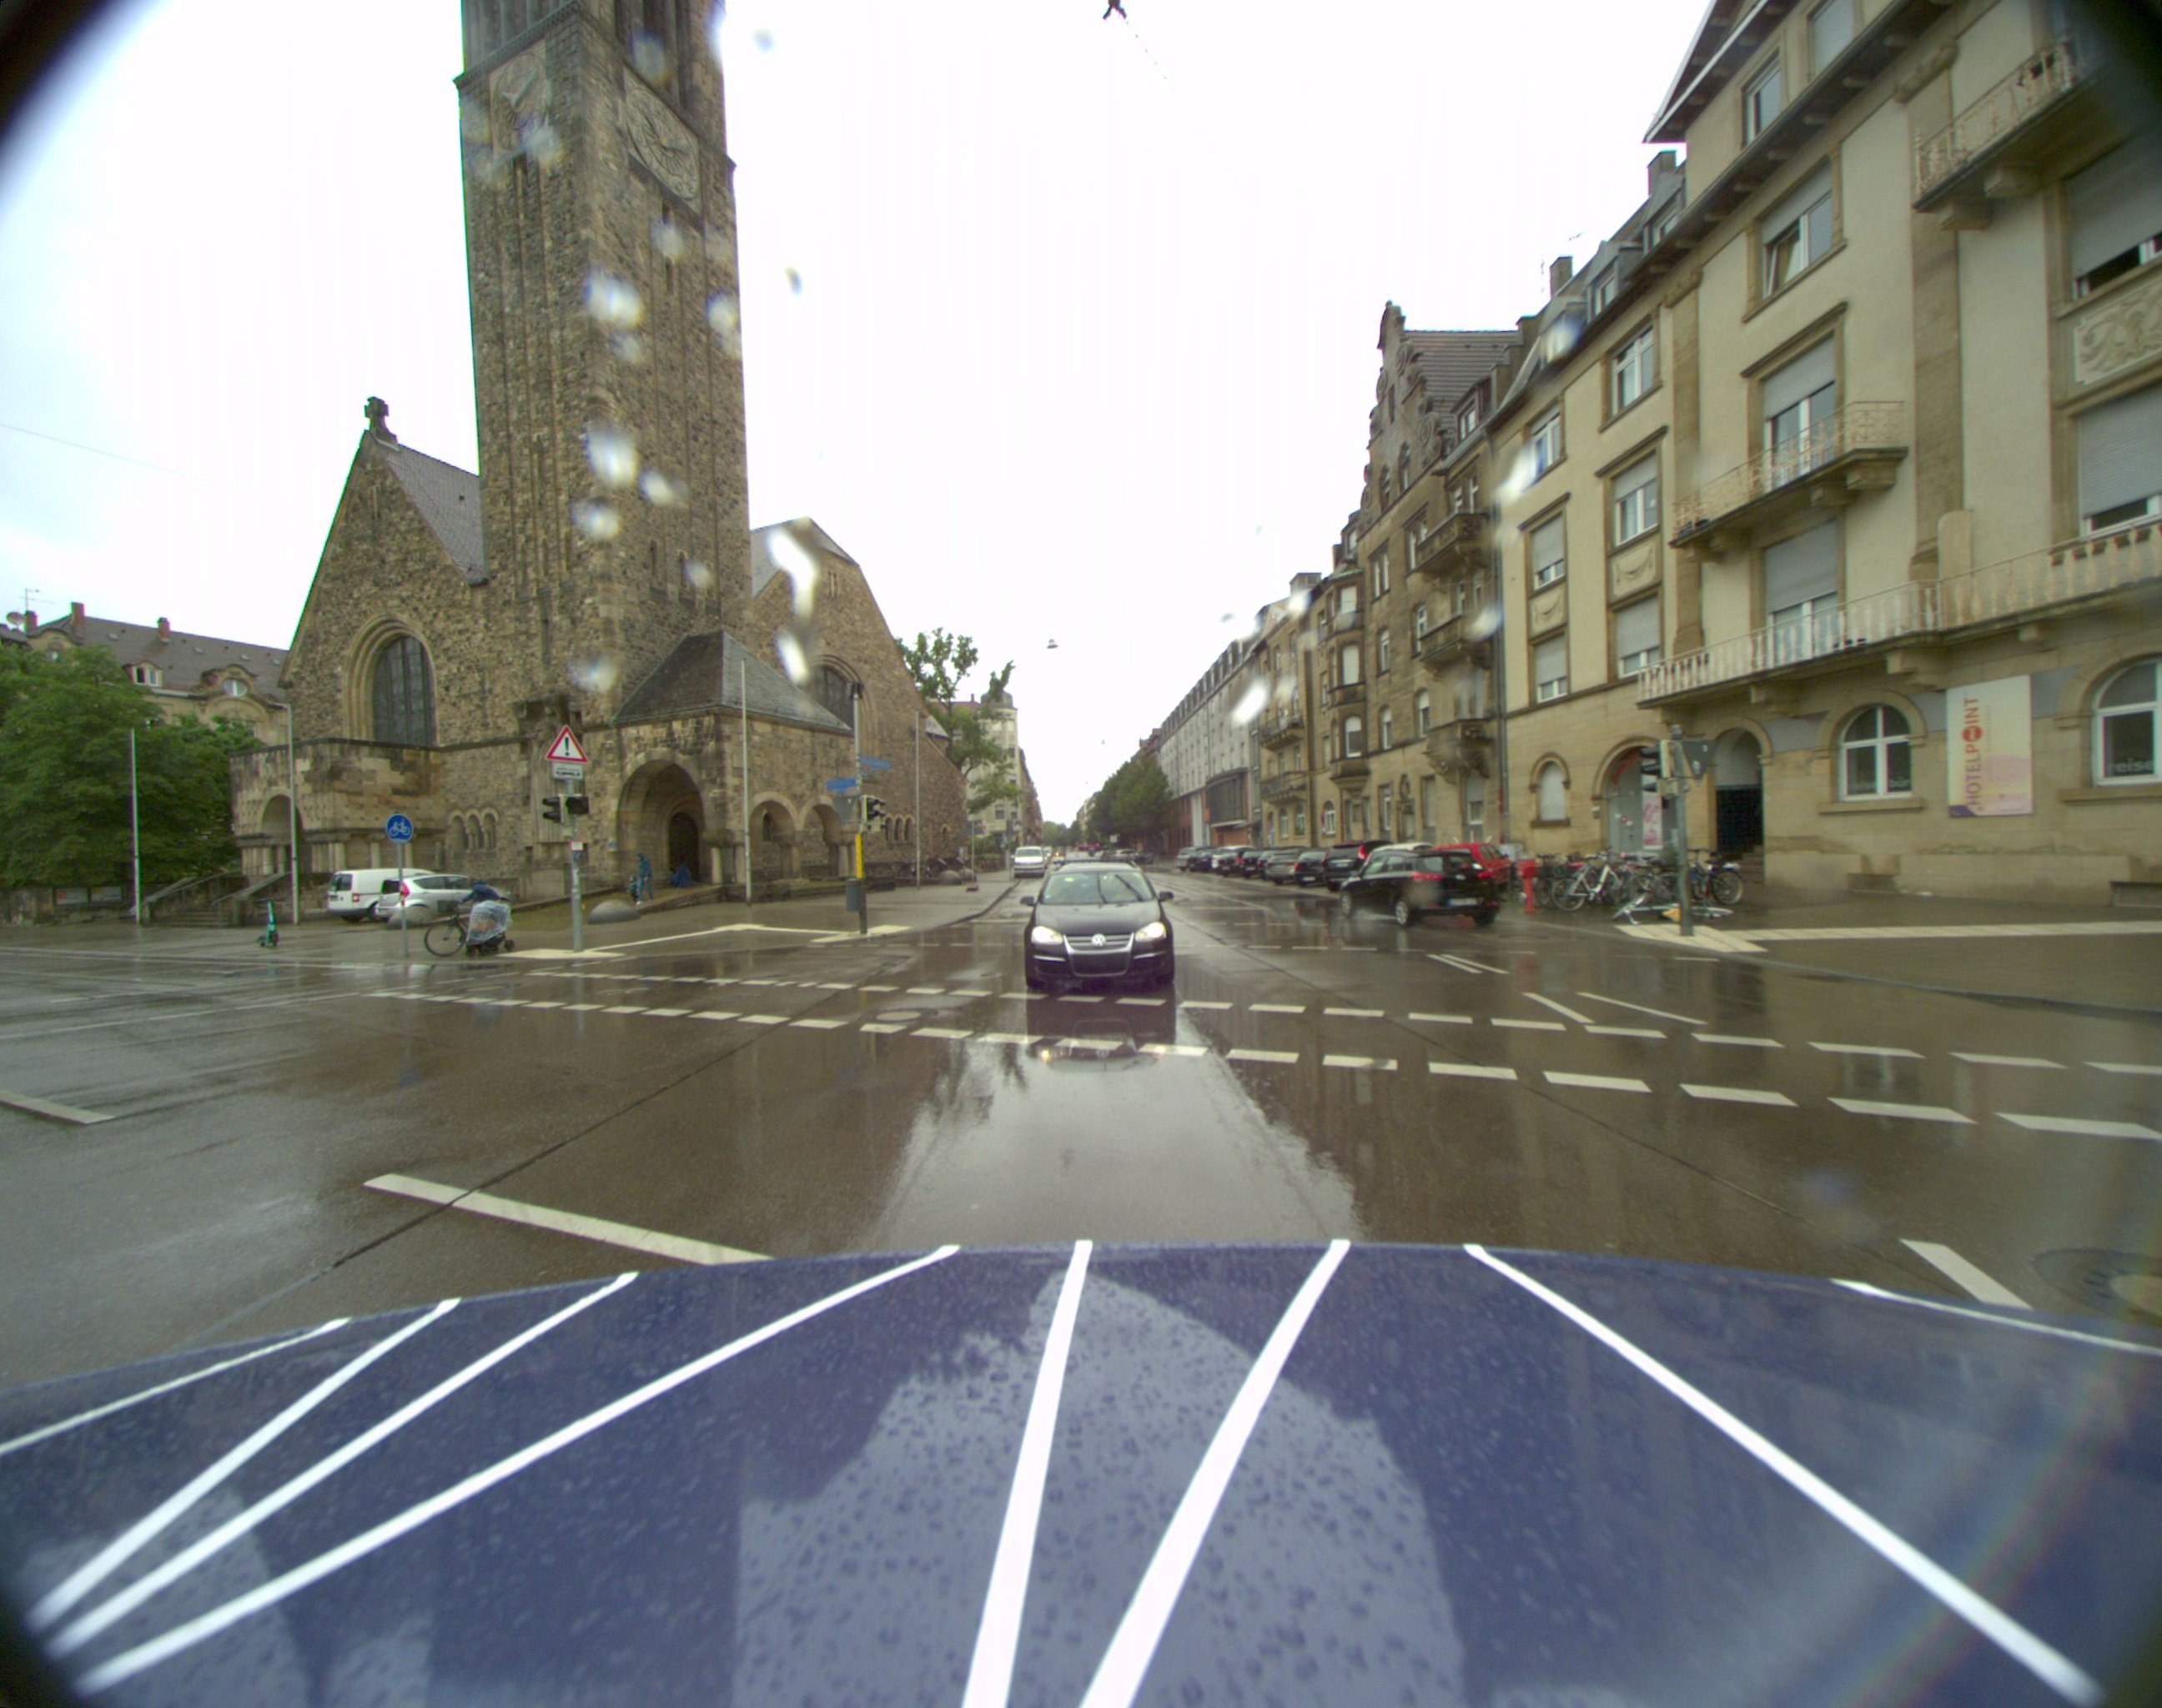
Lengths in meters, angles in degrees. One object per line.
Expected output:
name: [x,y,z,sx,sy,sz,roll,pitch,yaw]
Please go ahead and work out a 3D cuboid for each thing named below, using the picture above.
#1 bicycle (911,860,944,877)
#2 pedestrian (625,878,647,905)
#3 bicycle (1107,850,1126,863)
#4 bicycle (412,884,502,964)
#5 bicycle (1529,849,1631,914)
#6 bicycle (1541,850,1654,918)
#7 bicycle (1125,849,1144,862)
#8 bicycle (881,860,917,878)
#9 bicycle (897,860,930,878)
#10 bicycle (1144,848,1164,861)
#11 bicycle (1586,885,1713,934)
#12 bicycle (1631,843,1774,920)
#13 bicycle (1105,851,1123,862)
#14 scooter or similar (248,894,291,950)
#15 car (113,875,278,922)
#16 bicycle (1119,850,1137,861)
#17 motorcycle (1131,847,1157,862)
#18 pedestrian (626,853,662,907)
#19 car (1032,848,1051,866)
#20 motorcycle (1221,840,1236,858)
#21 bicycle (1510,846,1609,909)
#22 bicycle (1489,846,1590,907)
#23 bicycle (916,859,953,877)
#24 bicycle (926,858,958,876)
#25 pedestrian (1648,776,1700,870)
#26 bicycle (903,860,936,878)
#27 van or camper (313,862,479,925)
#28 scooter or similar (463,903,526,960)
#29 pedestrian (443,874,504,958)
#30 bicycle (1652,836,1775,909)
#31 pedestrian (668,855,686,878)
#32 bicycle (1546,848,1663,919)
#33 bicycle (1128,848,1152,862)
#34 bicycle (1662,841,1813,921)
bicycle: [-9.501,0.903,46.974,1.924,1.054,0.582,-1,1,20]
pedestrian: [-14.925,1.262,25.490,0.455,0.879,0.397,-2,1,19]
bicycle: [3.444,0.213,73.511,1.688,1.067,0.544,-7,2,-5]
bicycle: [-12.921,1.399,15.803,0.533,1.458,1.938,-2,1,-11]
bicycle: [10.550,0.575,16.084,1.815,1.178,0.468,-6,2,-3]
bicycle: [10.552,0.595,15.538,1.985,1.178,0.475,-6,2,-4]
bicycle: [5.061,0.148,72.052,1.688,1.067,0.544,-5,1,-5]
bicycle: [-10.692,0.892,44.649,2.005,1.043,0.577,-1,1,16]
bicycle: [-10.084,0.890,45.765,1.924,1.054,0.582,-1,1,17]
bicycle: [6.914,0.035,72.104,1.688,1.067,0.544,-5,1,-5]
bicycle: [9.845,0.938,13.202,1.044,0.660,1.475,-5,2,-32]
bicycle: [11.817,0.508,14.463,2.347,1.338,0.640,-2,1,-6]
bicycle: [3.344,0.253,76.710,1.688,1.067,0.544,0,1,-5]
scooter or similar: [-20.428,1.710,19.130,1.101,1.379,0.287,-2,1,21]
car: [-36.738,1.791,31.658,1.995,1.609,4.005,-2,1,23]
bicycle: [4.702,0.140,75.805,1.688,1.067,0.544,-2,1,-5]
motorcycle: [5.837,0.042,70.146,2.255,1.302,0.758,-4,1,-2]
pedestrian: [-14.237,0.844,24.768,0.633,1.693,0.679,-2,1,19]
car: [-3.596,0.258,69.881,1.675,1.541,3.917,-1,1,-1]
motorcycle: [12.514,-0.414,64.504,0.777,1.455,2.362,-1,1,-1]
bicycle: [10.451,0.504,16.604,1.815,1.178,0.475,-6,2,-3]
bicycle: [10.509,0.510,17.444,1.814,1.178,0.600,-6,1,4]
bicycle: [-9.181,0.872,47.621,2.151,1.054,0.679,-1,1,20]
bicycle: [-8.873,0.840,48.552,1.978,1.060,0.607,-1,1,21]
pedestrian: [15.173,-0.786,19.460,0.846,2.326,0.765,-1,1,21]
bicycle: [-9.854,0.900,46.414,1.924,1.054,0.582,-1,1,20]
van or camper: [-24.317,1.334,27.169,1.645,1.719,3.933,-1,4,22]
scooter or similar: [-11.938,1.562,15.484,0.514,1.042,0.924,-2,1,1]
pedestrian: [-12.424,1.249,15.552,0.604,1.654,0.689,-2,1,2]
bicycle: [12.472,0.348,15.007,2.063,1.338,0.584,-2,1,-6]
pedestrian: [-16.434,0.504,30.909,0.396,0.879,0.457,-2,1,21]
bicycle: [10.357,0.577,15.047,1.981,1.322,0.438,-2,1,1]
bicycle: [5.495,0.097,71.105,2.049,1.165,0.773,-5,1,-5]
bicycle: [11.913,0.476,13.804,2.347,1.338,0.640,-2,1,-6]
